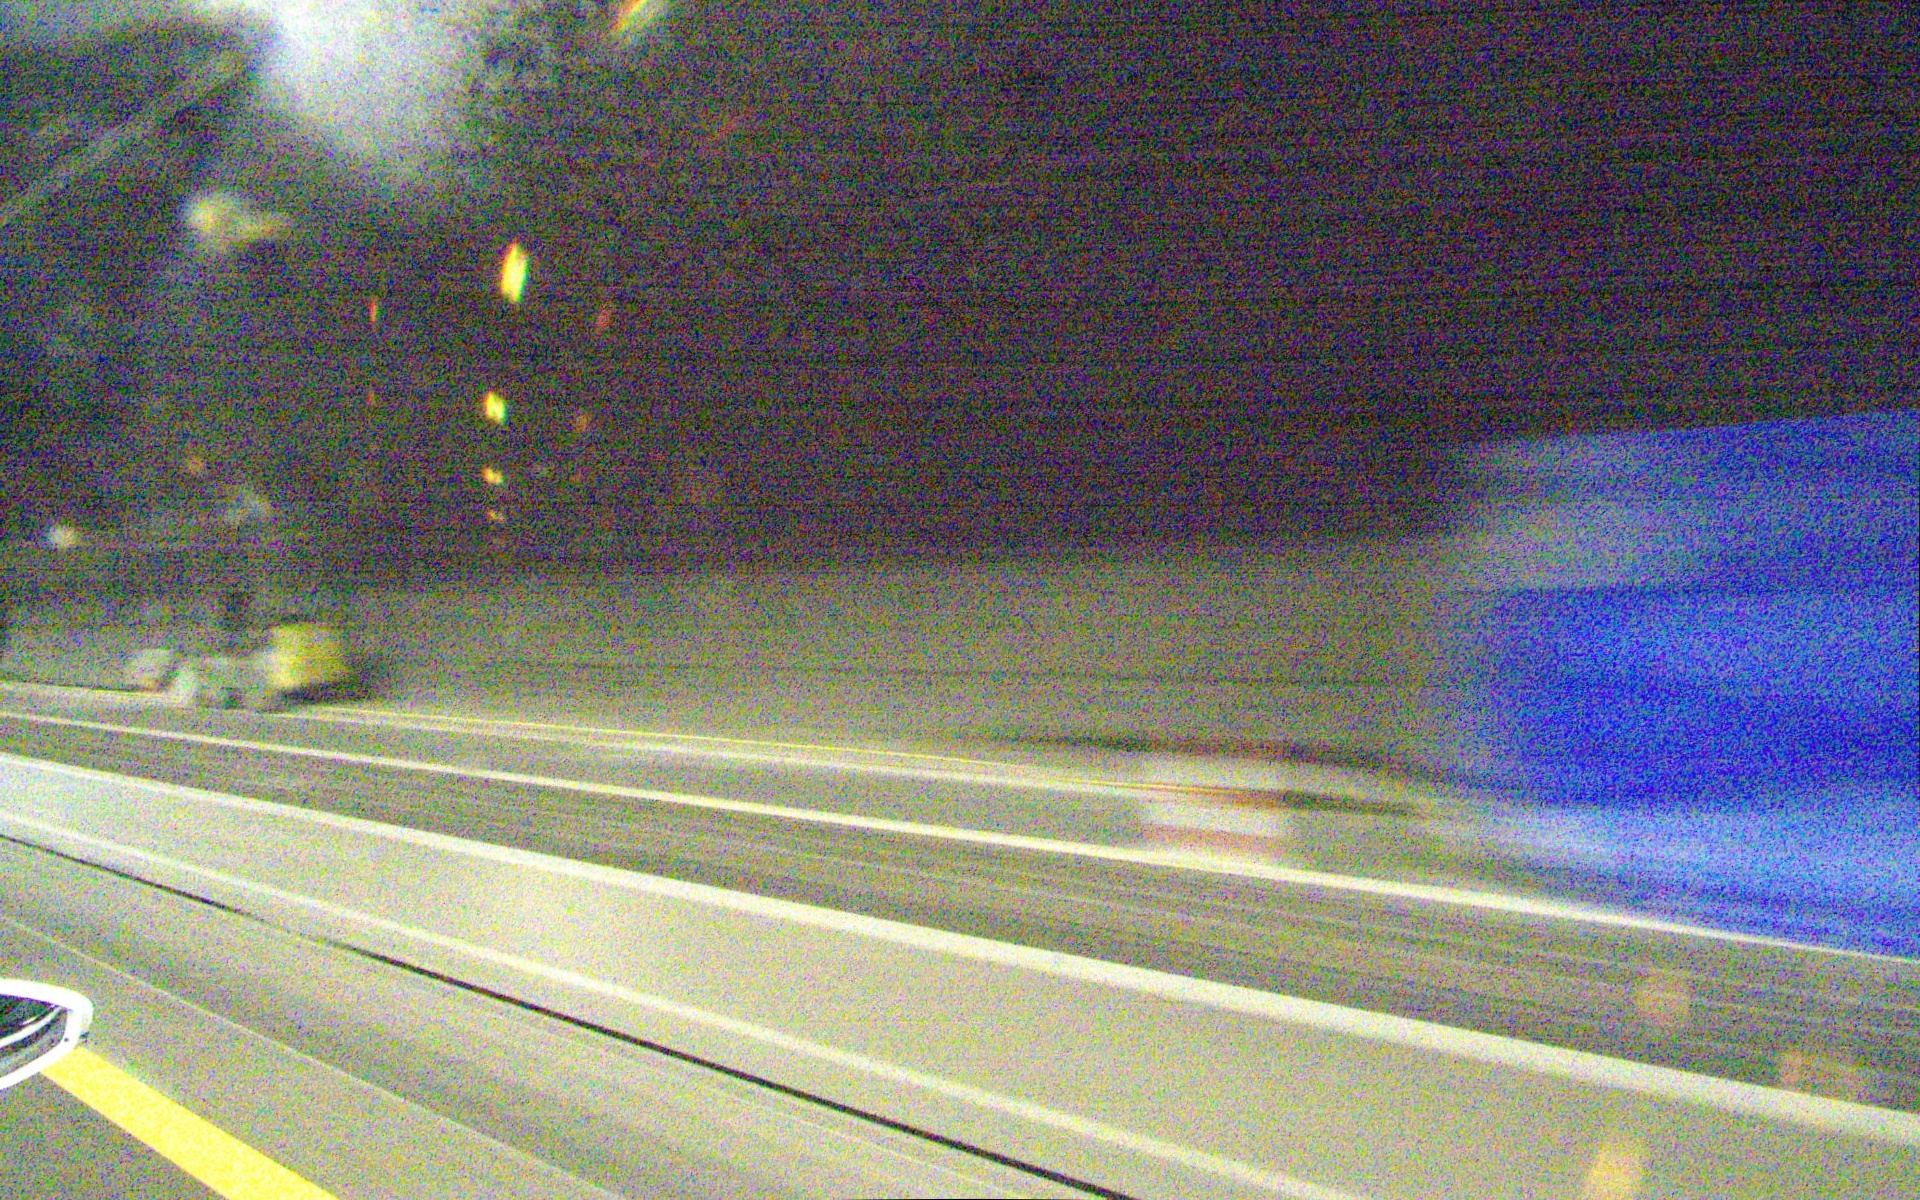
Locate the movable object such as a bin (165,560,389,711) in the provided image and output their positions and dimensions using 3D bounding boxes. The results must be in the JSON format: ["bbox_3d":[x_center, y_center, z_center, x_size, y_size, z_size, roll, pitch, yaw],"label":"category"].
[{"bbox_3d":[-12.223,0.589,17.877,3.943,2.413,1.752,-1,2,32],"label":"movable object such as a bin"}]
